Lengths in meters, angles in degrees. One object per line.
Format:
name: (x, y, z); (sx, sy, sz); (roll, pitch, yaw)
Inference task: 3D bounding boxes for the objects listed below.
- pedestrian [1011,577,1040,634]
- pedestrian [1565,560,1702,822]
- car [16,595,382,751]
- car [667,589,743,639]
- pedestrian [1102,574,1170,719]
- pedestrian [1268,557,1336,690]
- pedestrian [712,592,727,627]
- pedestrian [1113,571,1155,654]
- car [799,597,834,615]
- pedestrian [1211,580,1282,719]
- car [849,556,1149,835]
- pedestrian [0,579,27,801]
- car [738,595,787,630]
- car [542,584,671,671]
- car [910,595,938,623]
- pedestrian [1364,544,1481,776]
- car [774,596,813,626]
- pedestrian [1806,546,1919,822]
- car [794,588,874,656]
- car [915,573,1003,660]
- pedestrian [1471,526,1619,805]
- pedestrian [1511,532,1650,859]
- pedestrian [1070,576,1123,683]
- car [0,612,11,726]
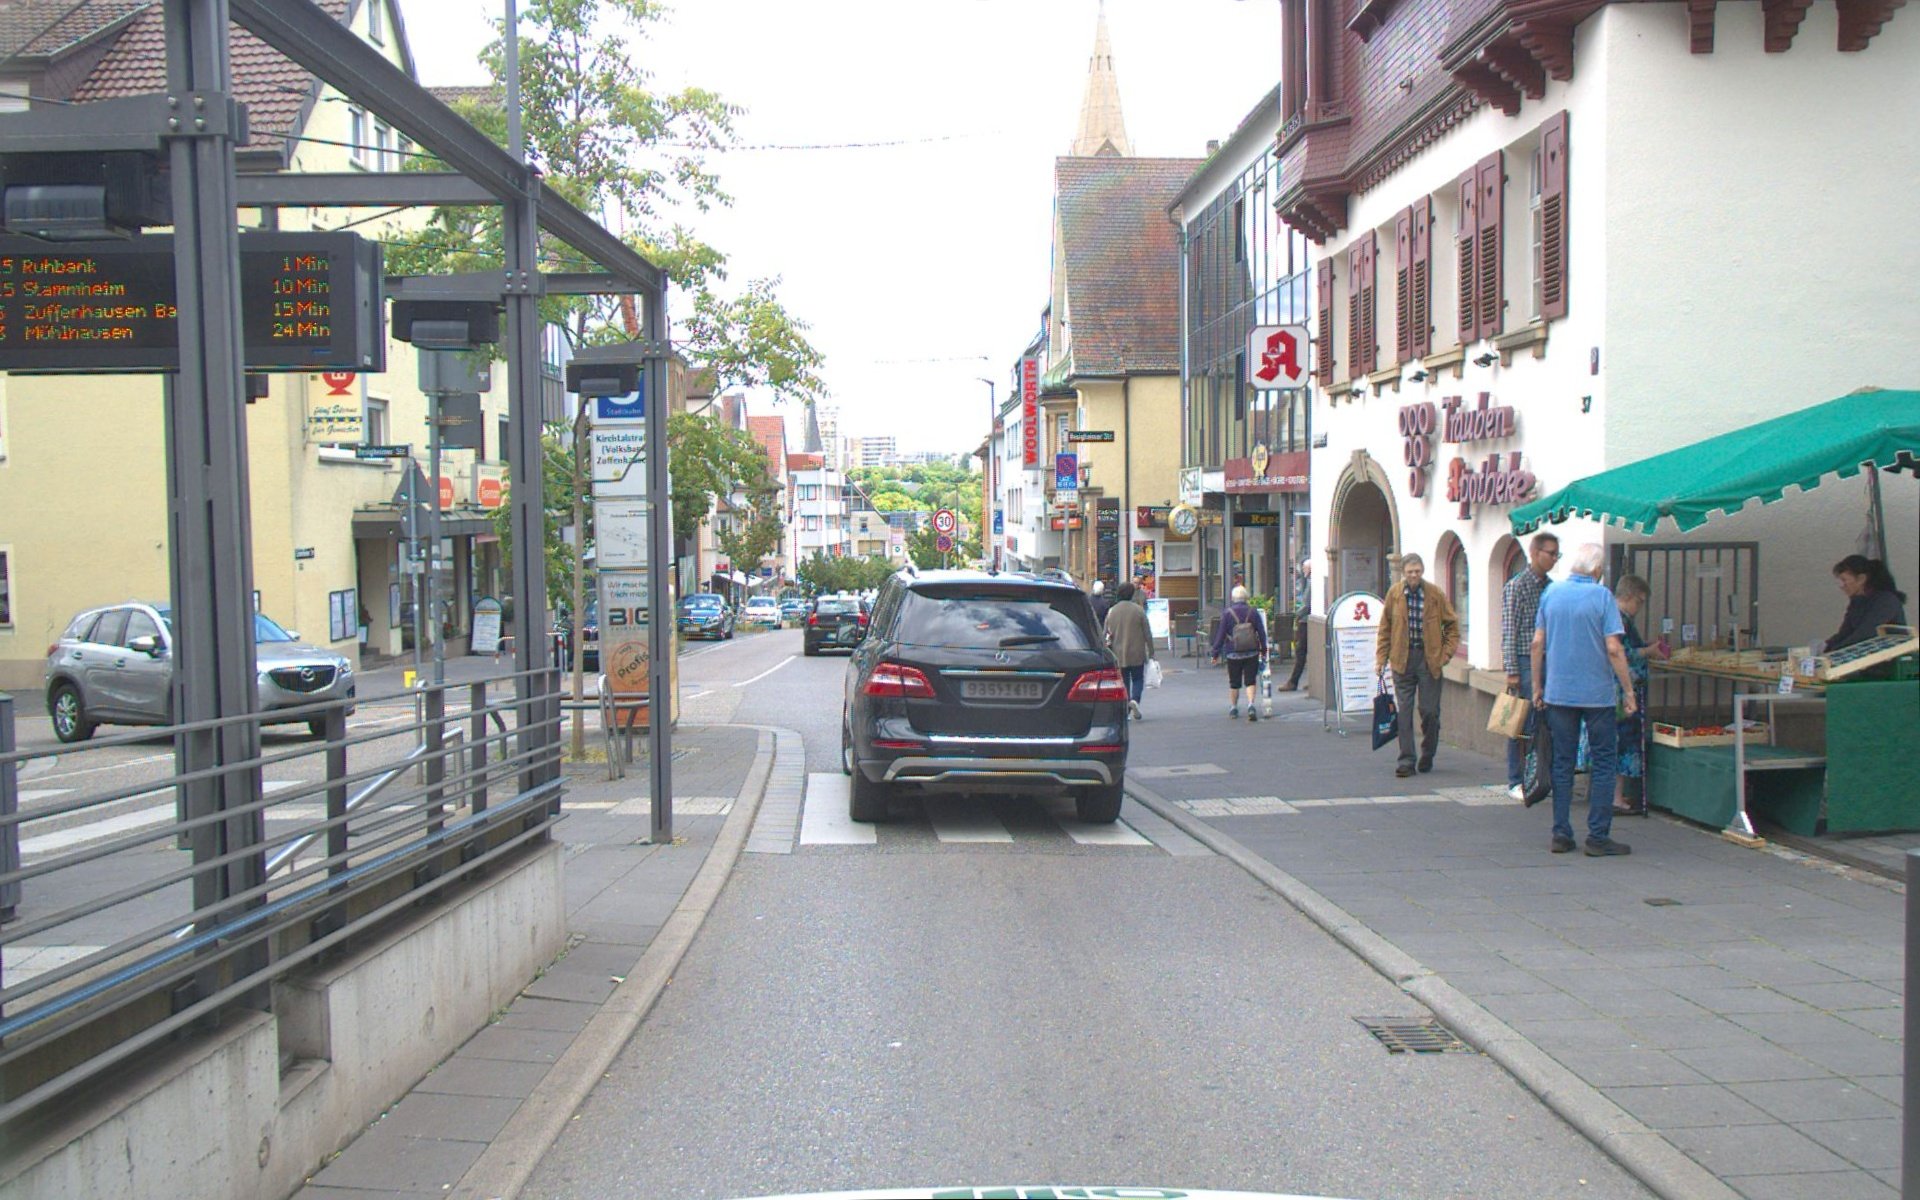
pedestrian: (2.041, 0.169, 51.557); (0.780, 1.757, 1.052); (-1, 0, -2)
pedestrian: (4.378, 0.575, 10.785); (0.610, 1.641, 0.703); (-1, 0, 4)
car: (-9.109, 0.806, 19.723); (4.262, 1.649, 1.965); (-1, 0, 32)
car: (-8.230, 0.414, 53.729); (1.888, 1.518, 4.840); (1, 0, -3)
pedestrian: (2.078, 0.540, 19.636); (0.756, 1.674, 0.870); (-1, 0, 4)
pedestrian: (4.734, 0.322, 22.933); (0.758, 1.800, 0.817); (-1, 0, 0)
pedestrian: (-10.273, 0.398, 70.566); (0.480, 1.489, 0.559); (-1, 0, 7)
pedestrian: (3.706, 0.264, 35.290); (0.845, 1.737, 0.945); (-1, 0, 4)
car: (-16.507, 0.712, 189.909); (3.910, 1.780, 1.998); (-3, 0, -6)
pedestrian: (3.288, 0.553, 19.051); (0.709, 1.558, 0.808); (-1, 0, 4)
car: (0.116, 0.602, 12.672); (1.905, 1.770, 4.175); (1, 0, -4)
pedestrian: (-8.362, 0.751, 13.443); (0.897, 1.819, 0.988); (-1, 0, 15)
car: (-9.082, 0.552, 76.418); (1.888, 1.538, 4.260); (1, 0, -3)
car: (-7.664, 0.545, 36.290); (1.966, 1.723, 4.606); (1, 1, -2)
car: (-2.665, 0.654, 121.210); (1.899, 1.924, 4.705); (-3, 0, -2)
pedestrian: (3.752, 0.478, 13.467); (0.769, 1.833, 0.676); (-1, 0, 4)
car: (-9.409, 0.645, 93.675); (1.888, 1.650, 4.637); (1, -1, -3)
pedestrian: (5.704, 0.496, 10.200); (0.610, 1.641, 0.703); (-1, 0, 4)
car: (-3.068, 0.503, 40.883); (1.749, 1.567, 3.743); (-1, 0, -2)
car: (0.032, 0.332, 37.677); (1.838, 1.831, 4.733); (-1, 0, 2)
pedestrian: (4.151, 0.441, 11.741); (0.766, 1.889, 0.699); (-1, 0, 41)
pedestrian: (3.576, 0.525, 9.521); (0.686, 1.797, 0.625); (-1, 0, 24)
pedestrian: (2.210, 0.465, 26.766); (0.806, 1.695, 0.802); (-1, 0, 4)
car: (-15.544, 1.005, 22.376); (4.269, 1.596, 1.915); (-1, 0, -1)
